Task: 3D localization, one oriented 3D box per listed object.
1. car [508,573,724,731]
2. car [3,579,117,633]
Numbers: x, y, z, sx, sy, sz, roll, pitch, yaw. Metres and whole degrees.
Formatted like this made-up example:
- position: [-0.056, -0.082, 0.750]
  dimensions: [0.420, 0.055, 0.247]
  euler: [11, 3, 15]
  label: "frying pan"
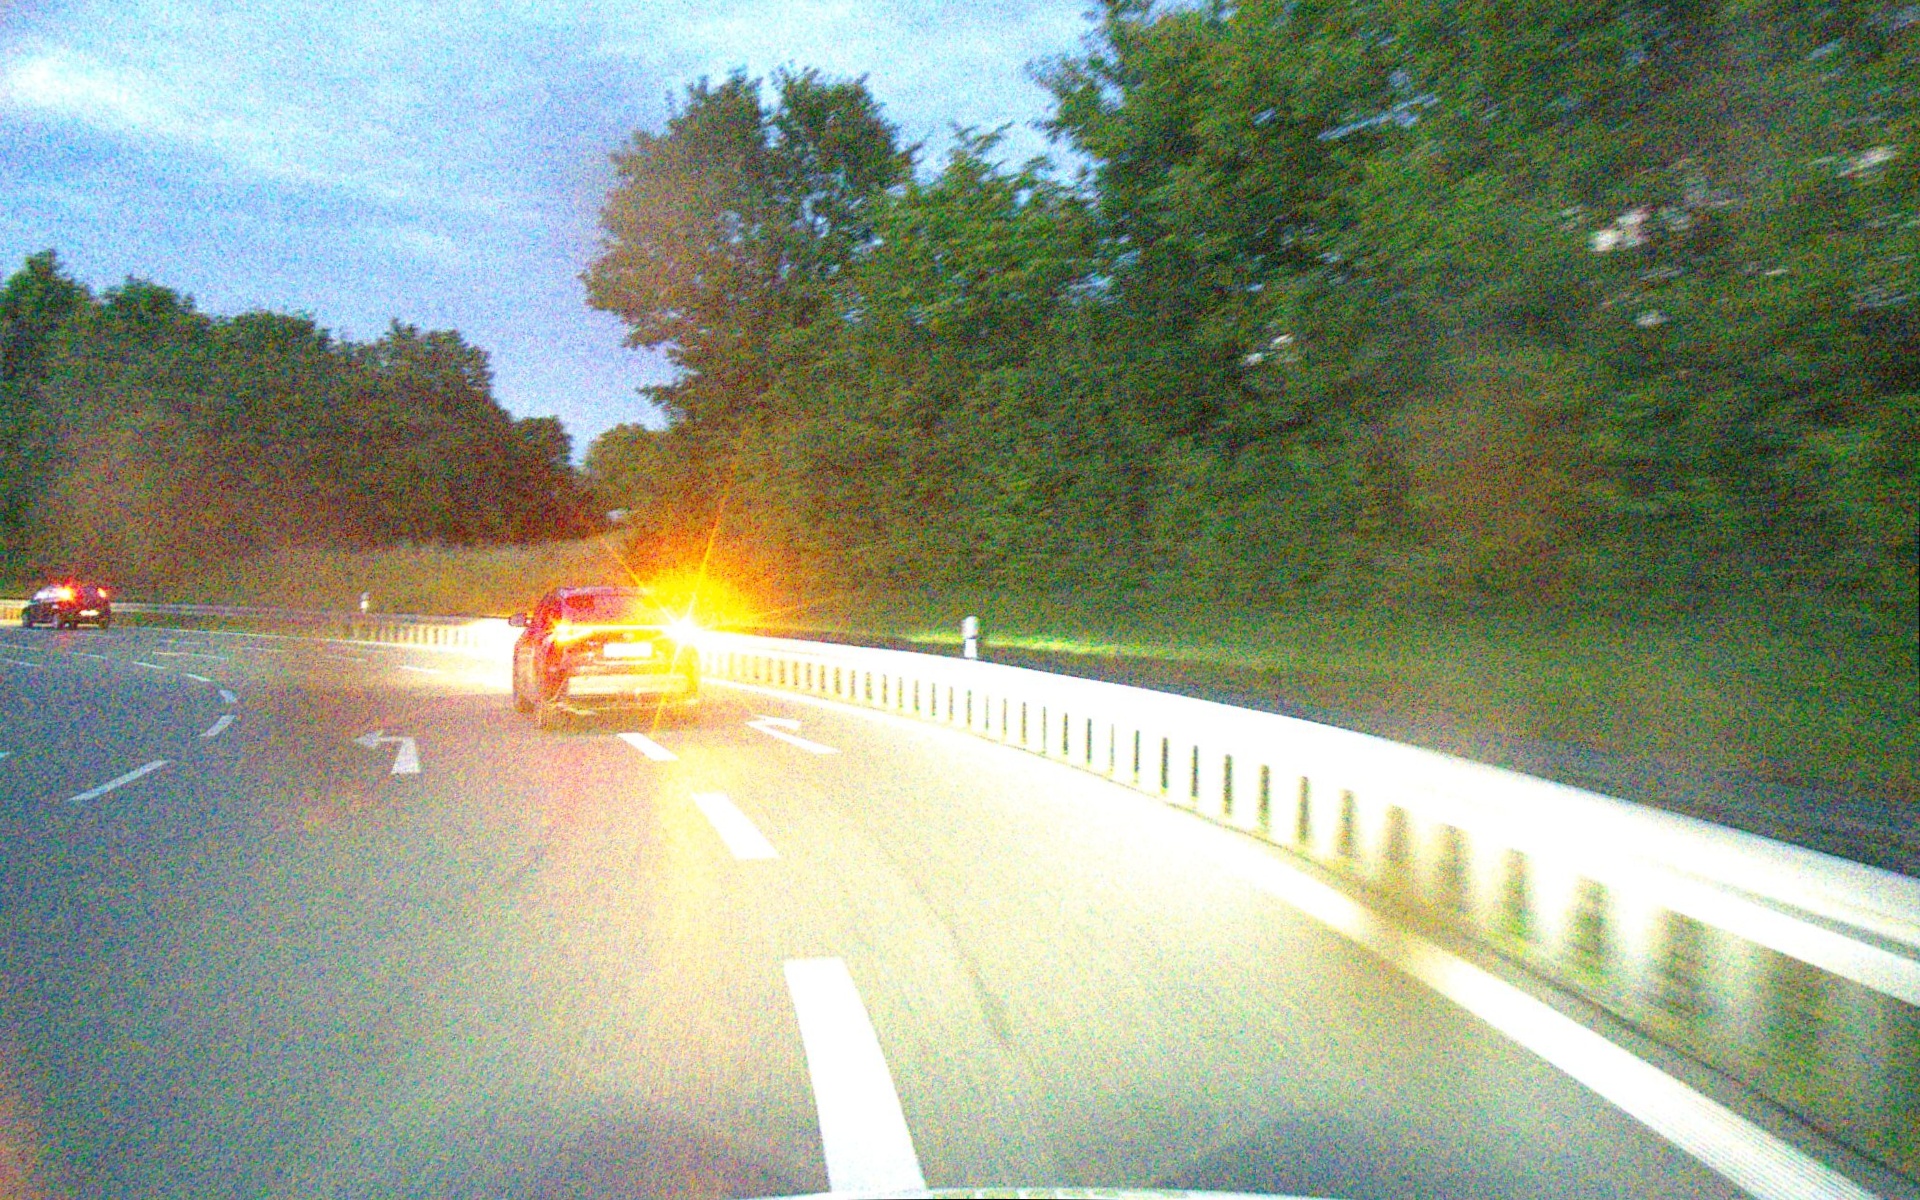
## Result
- position: [-4.285, 0.578, 20.080]
  dimensions: [1.964, 1.688, 4.290]
  euler: [2, -1, -20]
  label: "car"
- position: [-30.055, 0.185, 55.186]
  dimensions: [3.925, 1.626, 1.990]
  euler: [2, -1, 39]
  label: "car"
